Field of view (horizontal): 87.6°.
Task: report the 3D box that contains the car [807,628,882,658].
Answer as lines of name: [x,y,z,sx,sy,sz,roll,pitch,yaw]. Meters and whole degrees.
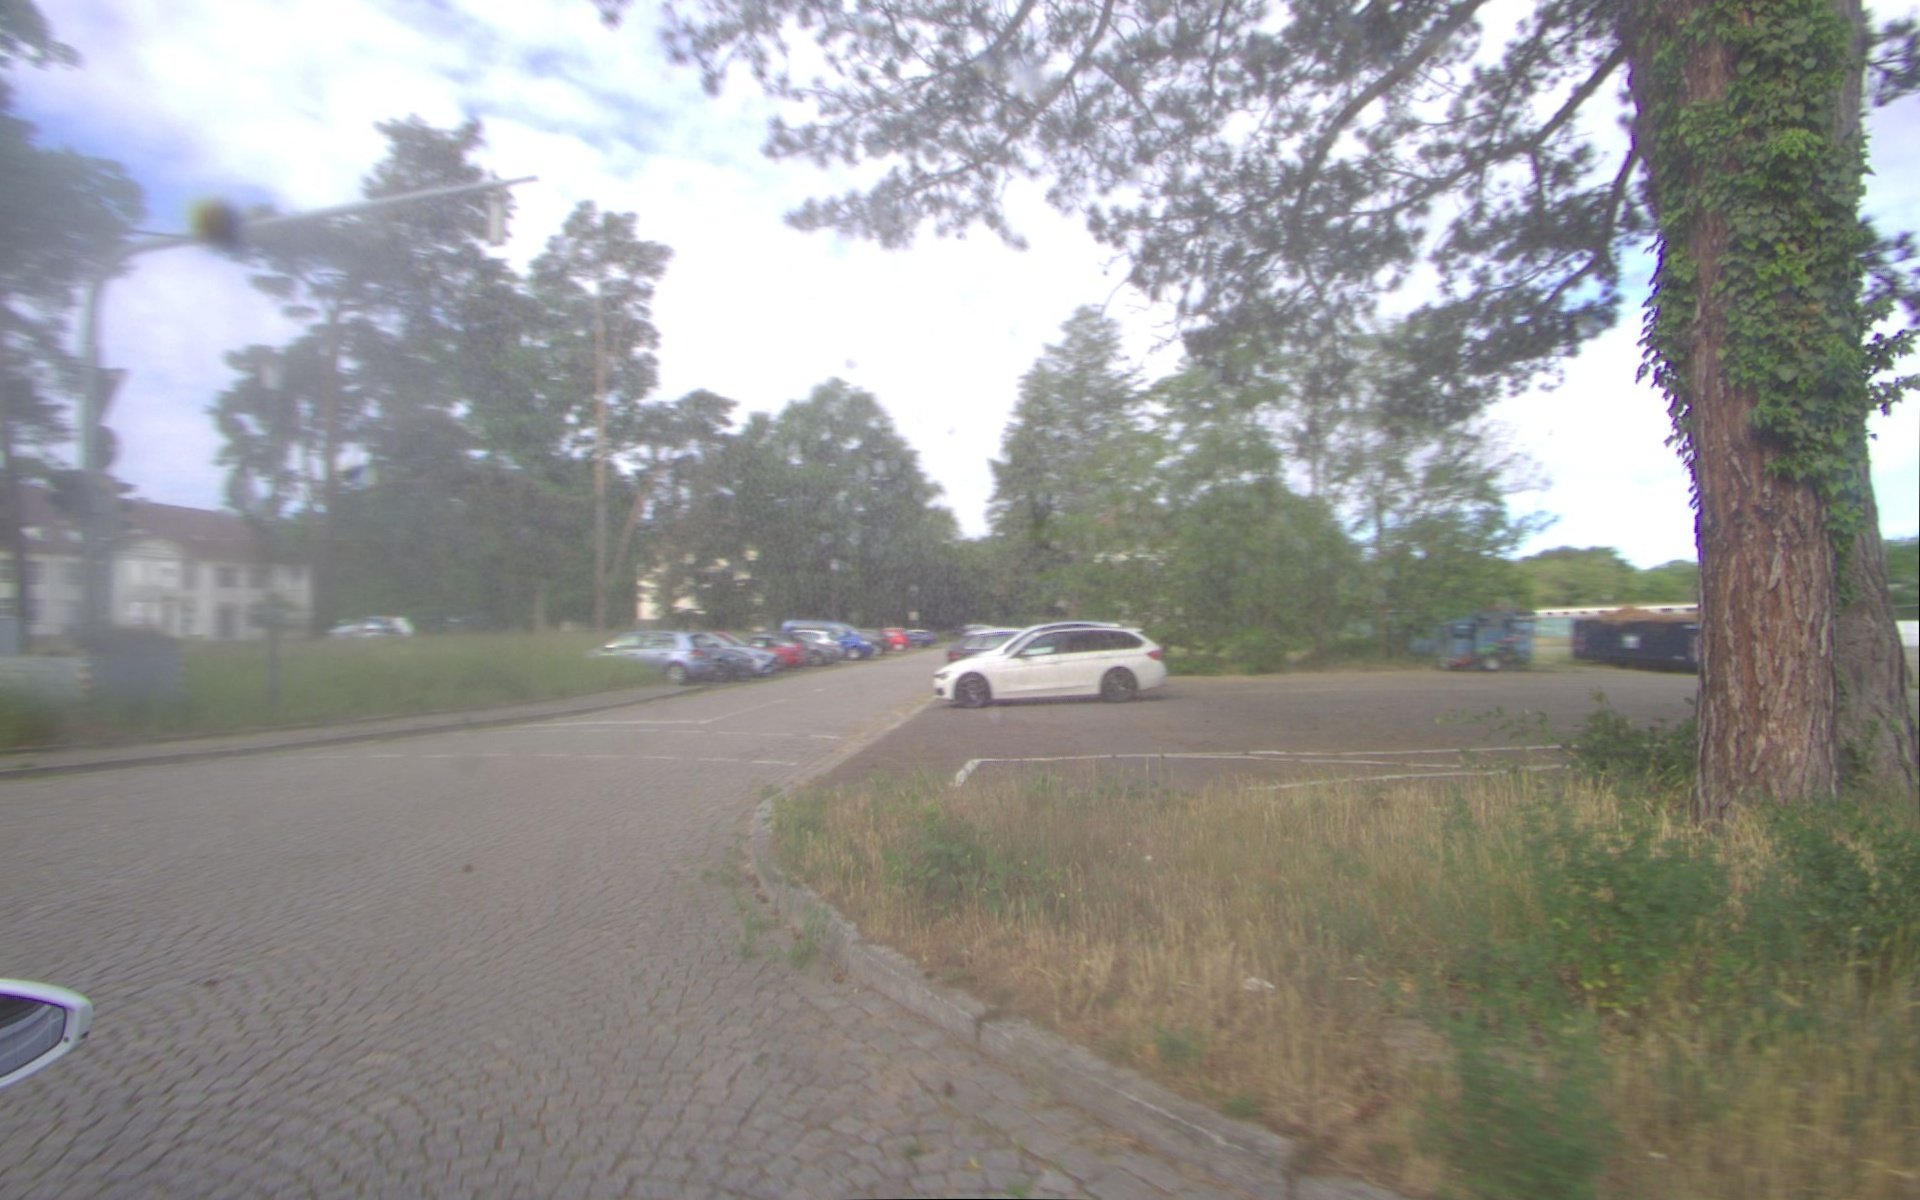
car: [-6.178,2.301,53.856,3.732,1.512,1.726,1,-1,2]

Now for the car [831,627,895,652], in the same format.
car: [-6.082,2.480,62.934,3.754,1.505,1.762,1,-1,4]

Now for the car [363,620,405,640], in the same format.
car: [-64.721,3.365,112.616,2.028,2.121,4.349,-1,-3,4]

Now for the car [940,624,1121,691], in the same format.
car: [1.733,1.404,24.957,4.295,1.424,1.796,-3,0,3]

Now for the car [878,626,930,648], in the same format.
car: [-4.493,2.974,80.640,4.005,1.625,1.788,1,-1,3]

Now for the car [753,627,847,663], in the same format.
car: [-7.321,2.049,46.022,3.940,1.521,1.843,1,-1,6]

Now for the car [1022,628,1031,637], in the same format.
car: [13.287,6.532,199.610,1.761,1.741,4.064,0,-3,3]

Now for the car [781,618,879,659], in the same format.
car: [-6.606,1.962,51.282,4.633,2.006,2.038,1,-1,4]

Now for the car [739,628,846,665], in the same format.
car: [-7.194,1.983,43.137,4.235,1.500,1.731,1,-1,6]

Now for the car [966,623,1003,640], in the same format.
car: [3.259,4.263,133.854,4.897,2.098,2.054,1,-3,3]

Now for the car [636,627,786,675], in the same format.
car: [-8.120,1.651,32.923,4.365,1.473,1.950,1,-2,5]

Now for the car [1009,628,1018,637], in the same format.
car: [10.689,6.561,199.499,1.761,1.656,4.064,0,-3,3]

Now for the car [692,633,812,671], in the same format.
car: [-7.760,1.928,37.600,4.064,1.300,1.764,1,-1,5]

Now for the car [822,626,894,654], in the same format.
car: [-6.082,2.413,60.138,4.001,1.595,1.955,1,-1,3]

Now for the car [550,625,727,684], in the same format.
car: [-8.814,1.483,27.650,4.259,1.489,1.828,1,-2,6]

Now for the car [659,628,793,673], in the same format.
car: [-8.184,1.756,35.245,4.185,1.474,1.855,1,-1,5]

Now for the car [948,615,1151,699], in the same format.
car: [1.897,1.246,22.249,4.259,1.594,1.828,-2,-2,-1]

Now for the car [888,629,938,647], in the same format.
car: [-3.952,3.222,85.307,4.006,1.486,1.626,1,-1,8]

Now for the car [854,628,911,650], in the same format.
car: [-5.405,2.742,70.430,3.754,1.509,1.788,1,-1,4]

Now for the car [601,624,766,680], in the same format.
car: [-8.281,1.559,30.242,4.428,1.556,1.871,1,-2,1]

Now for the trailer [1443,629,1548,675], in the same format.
trailer: [14.835,1.430,27.808,2.275,1.185,1.144,1,-2,3]

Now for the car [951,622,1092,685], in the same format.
car: [1.665,1.448,27.673,3.711,1.499,1.743,-3,0,2]

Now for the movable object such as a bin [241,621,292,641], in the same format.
movable object such as a bin: [-79.788,3.578,115.212,4.435,2.281,2.381,0,-3,9]

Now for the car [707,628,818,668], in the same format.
car: [-7.906,1.906,40.302,4.022,1.500,1.755,1,-1,6]

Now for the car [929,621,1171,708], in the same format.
car: [1.698,1.250,19.679,4.476,1.443,1.828,-2,-2,1]
